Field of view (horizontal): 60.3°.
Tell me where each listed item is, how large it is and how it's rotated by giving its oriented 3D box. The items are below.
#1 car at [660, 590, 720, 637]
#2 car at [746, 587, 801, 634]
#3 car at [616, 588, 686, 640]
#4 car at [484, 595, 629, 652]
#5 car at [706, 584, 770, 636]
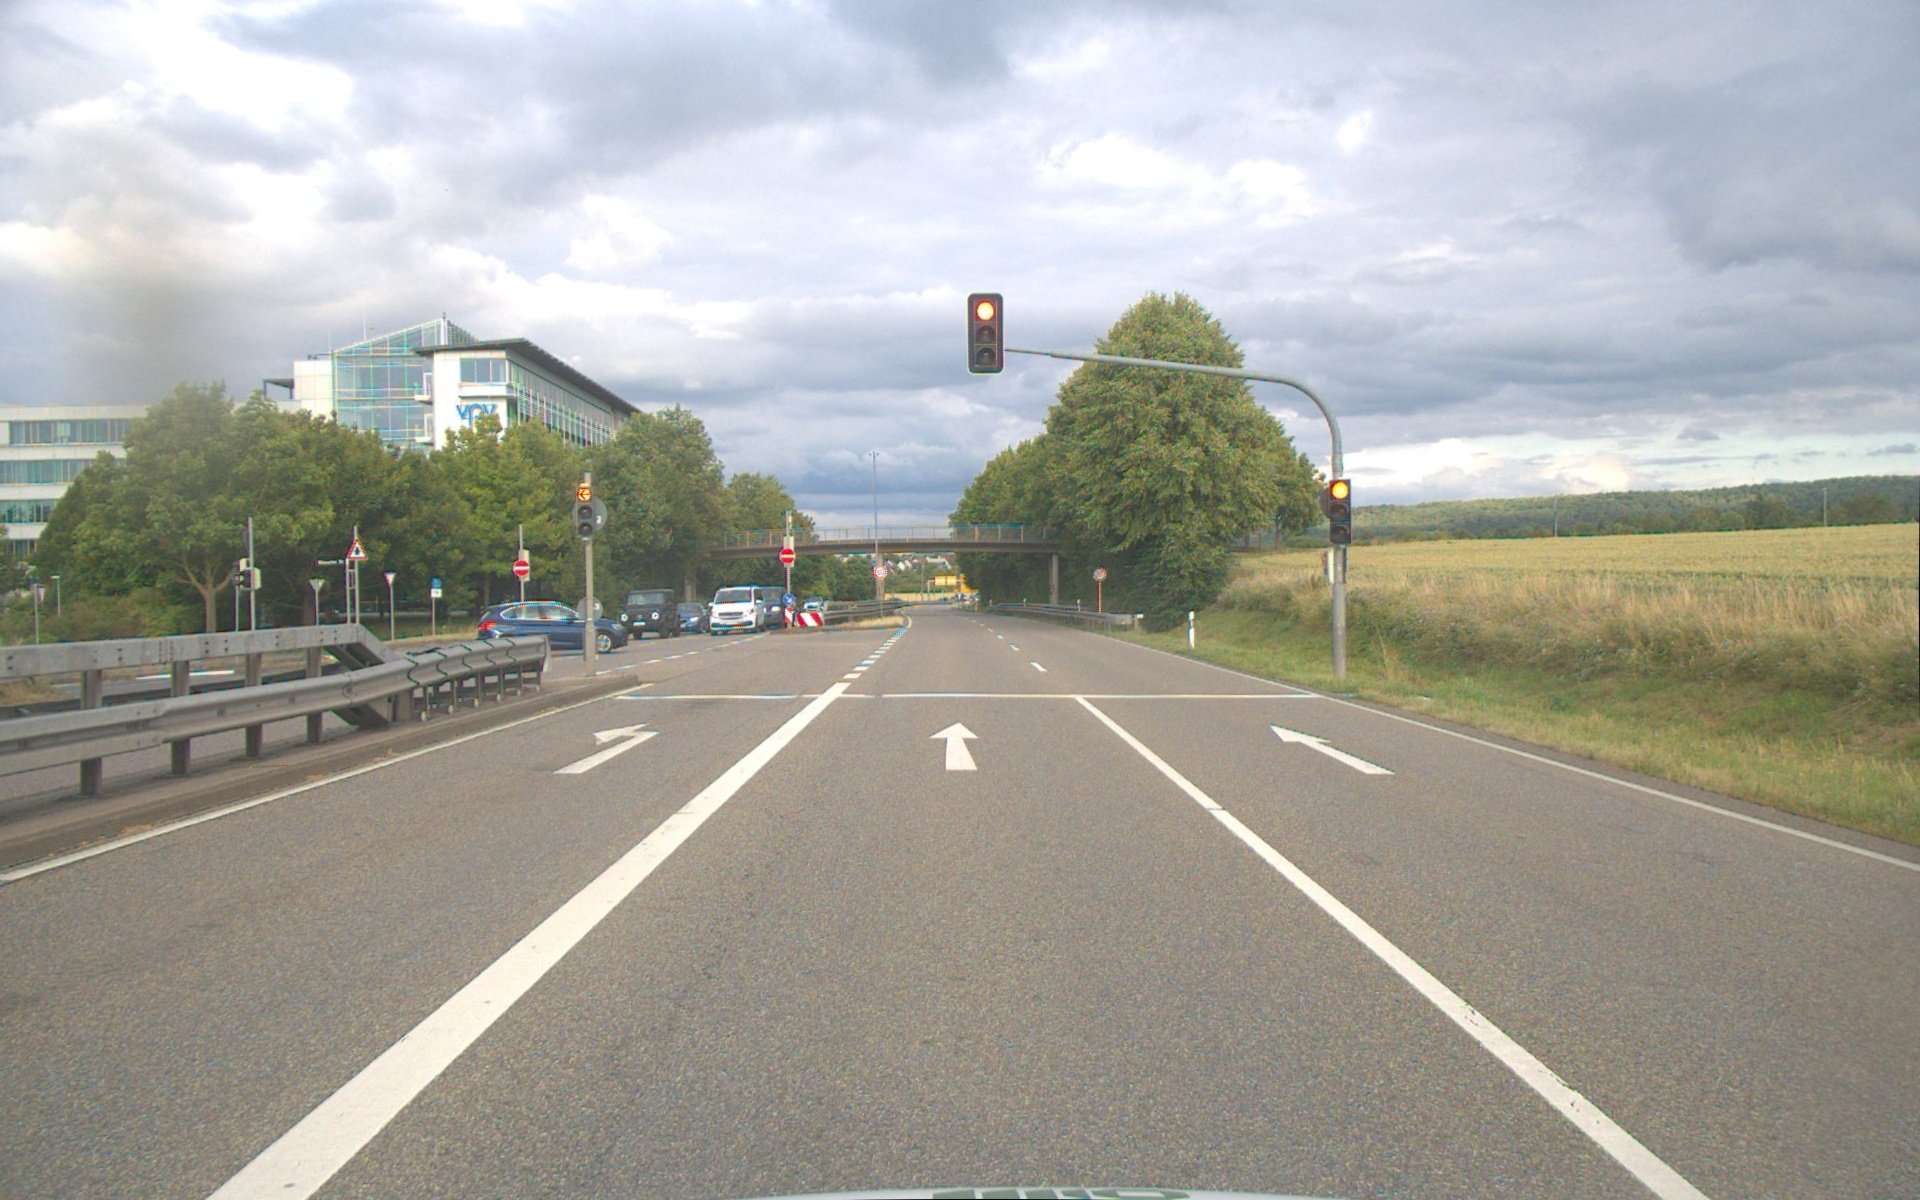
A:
[{"bbox_3d":[-12.294,0.590,75.571,2.041,2.049,5.214,1,0,-2],"label":"car"},{"bbox_3d":[-8.529,0.467,75.958,2.041,2.049,5.214,1,0,-2],"label":"car"},{"bbox_3d":[-12.663,0.561,68.066,2.041,2.049,5.214,1,0,-2],"label":"car"},{"bbox_3d":[-11.620,0.679,47.543,3.925,1.579,1.876,1,0,-18],"label":"car"},{"bbox_3d":[-9.104,0.391,68.216,2.041,2.049,5.214,1,0,-2],"label":"car"}]
